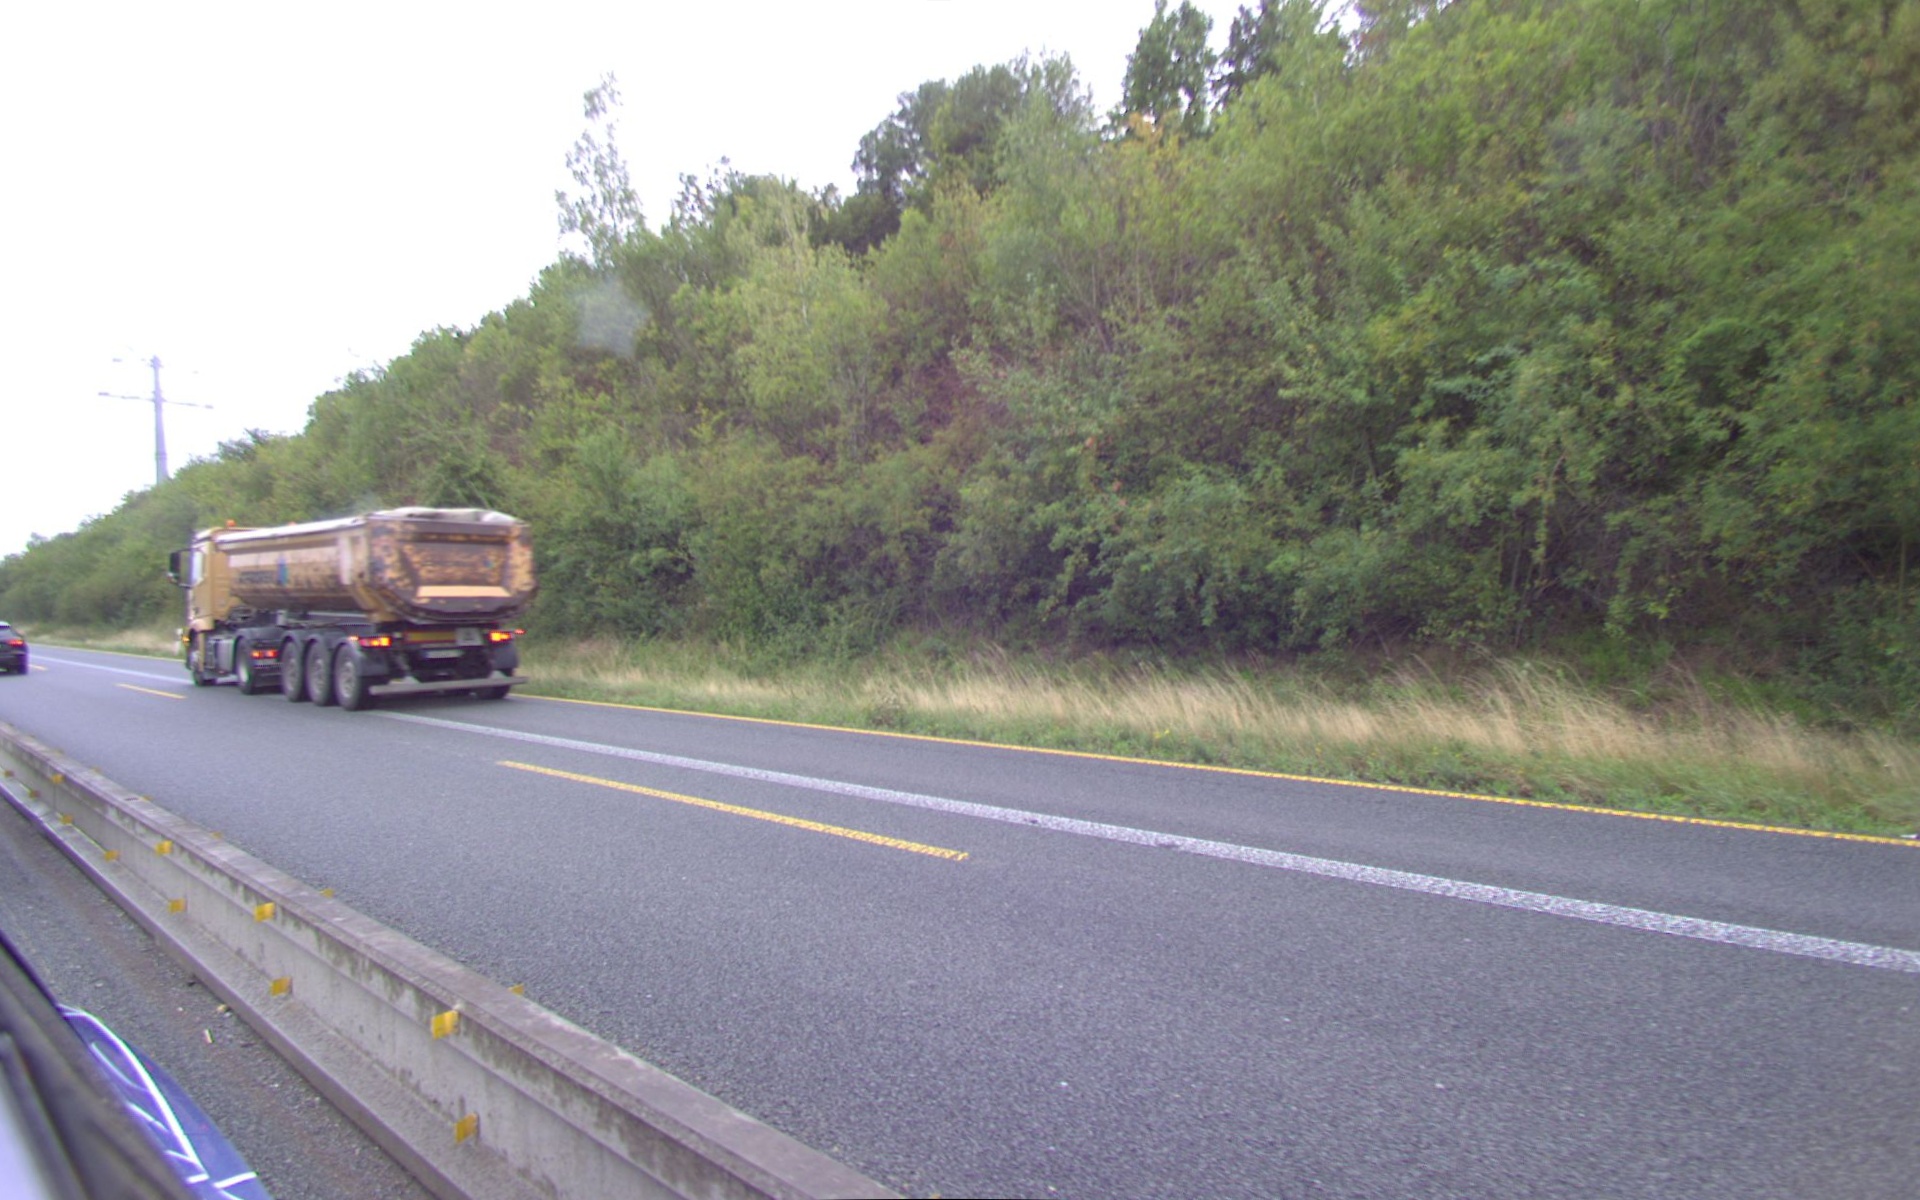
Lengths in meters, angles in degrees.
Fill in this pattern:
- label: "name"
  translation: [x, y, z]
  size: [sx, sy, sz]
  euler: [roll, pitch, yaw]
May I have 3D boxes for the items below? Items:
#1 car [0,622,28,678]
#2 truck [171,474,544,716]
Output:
- label: "car"
  translation: [-26.489, 1.326, 27.179]
  size: [3.927, 1.420, 1.669]
  euler: [-1, 0, 40]
- label: "truck"
  translation: [-11.895, -0.017, 19.031]
  size: [12.045, 3.378, 2.508]
  euler: [-1, 0, 42]
